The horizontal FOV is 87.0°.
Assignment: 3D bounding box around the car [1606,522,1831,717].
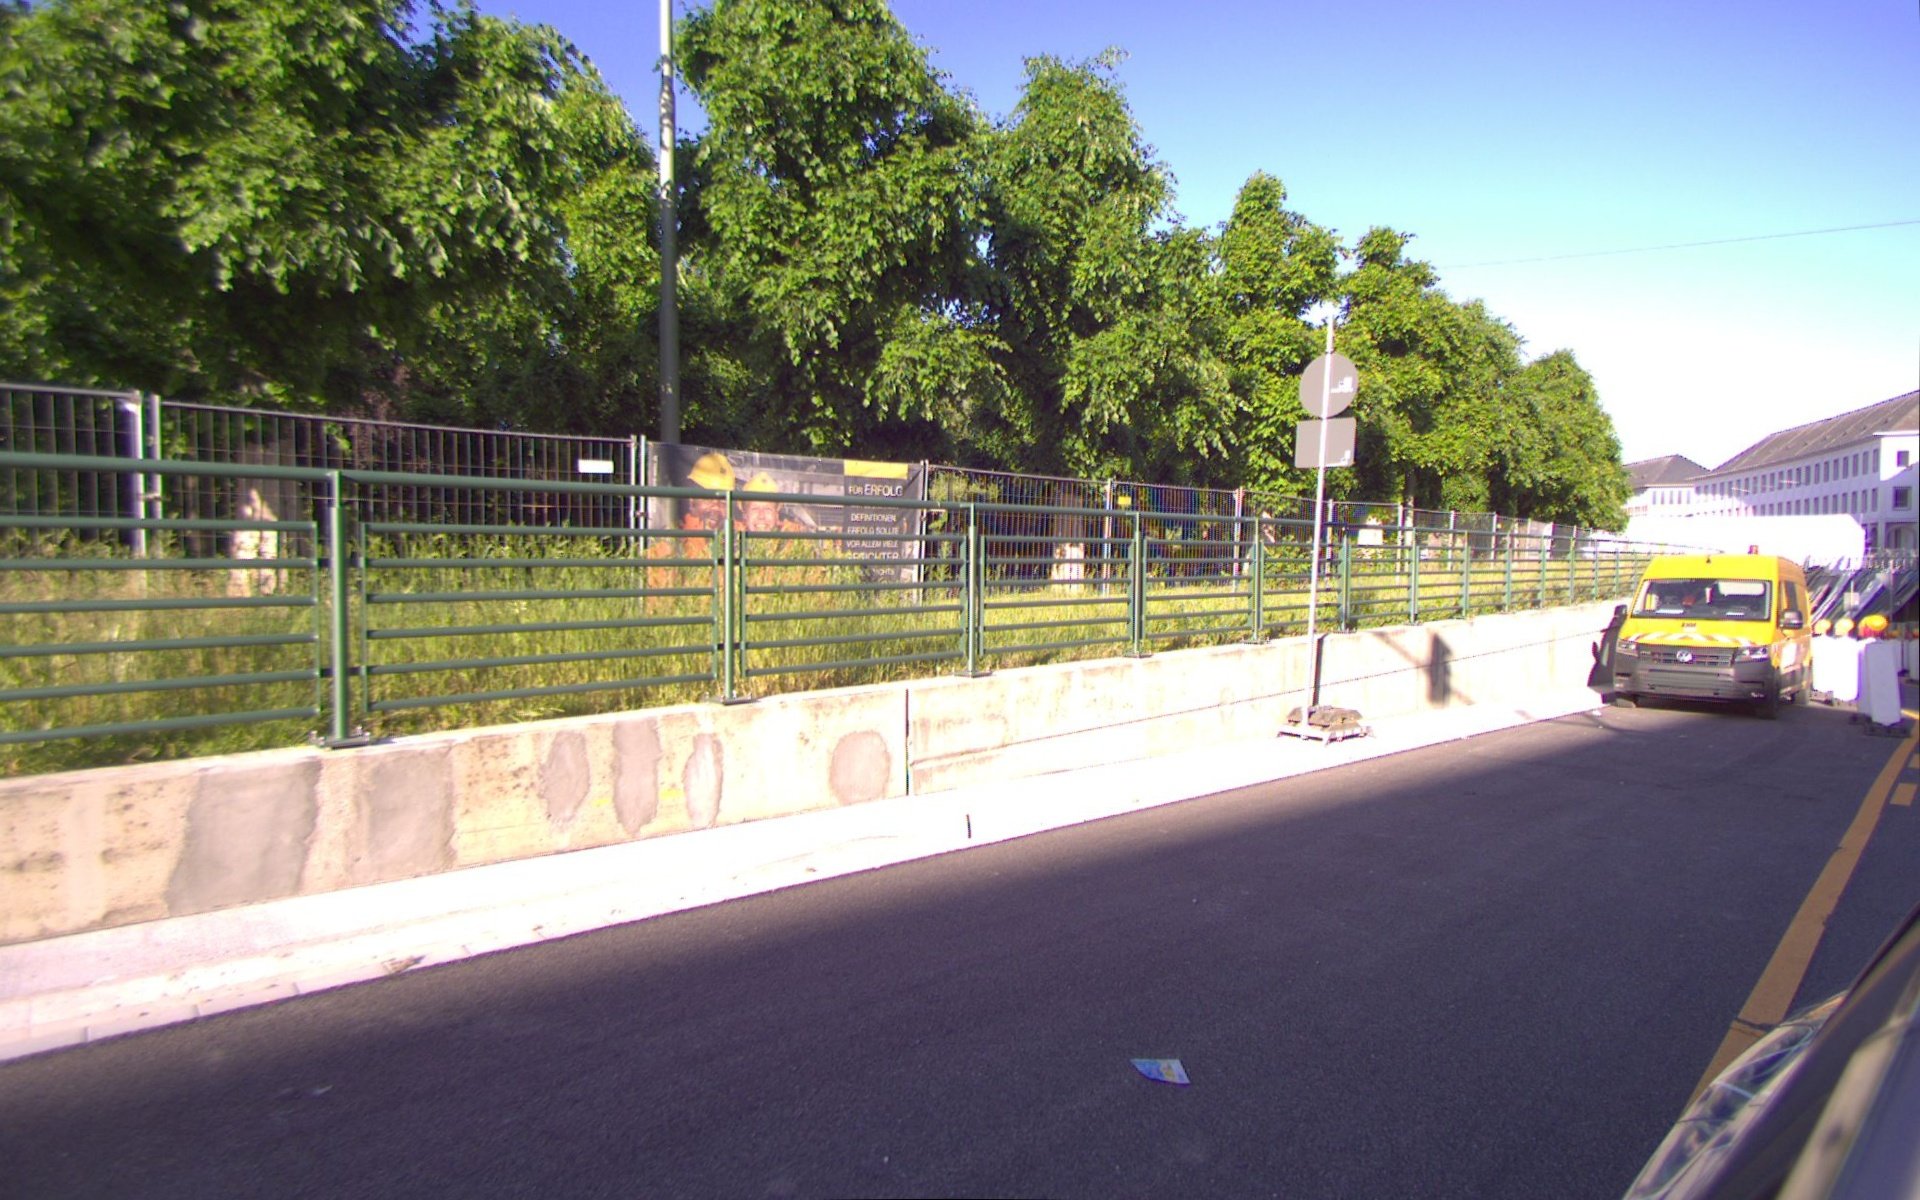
[{"bbox_3d":[12.902,0.281,16.959,2.113,2.658,6.874,2,0,44],"label":"car"}]
